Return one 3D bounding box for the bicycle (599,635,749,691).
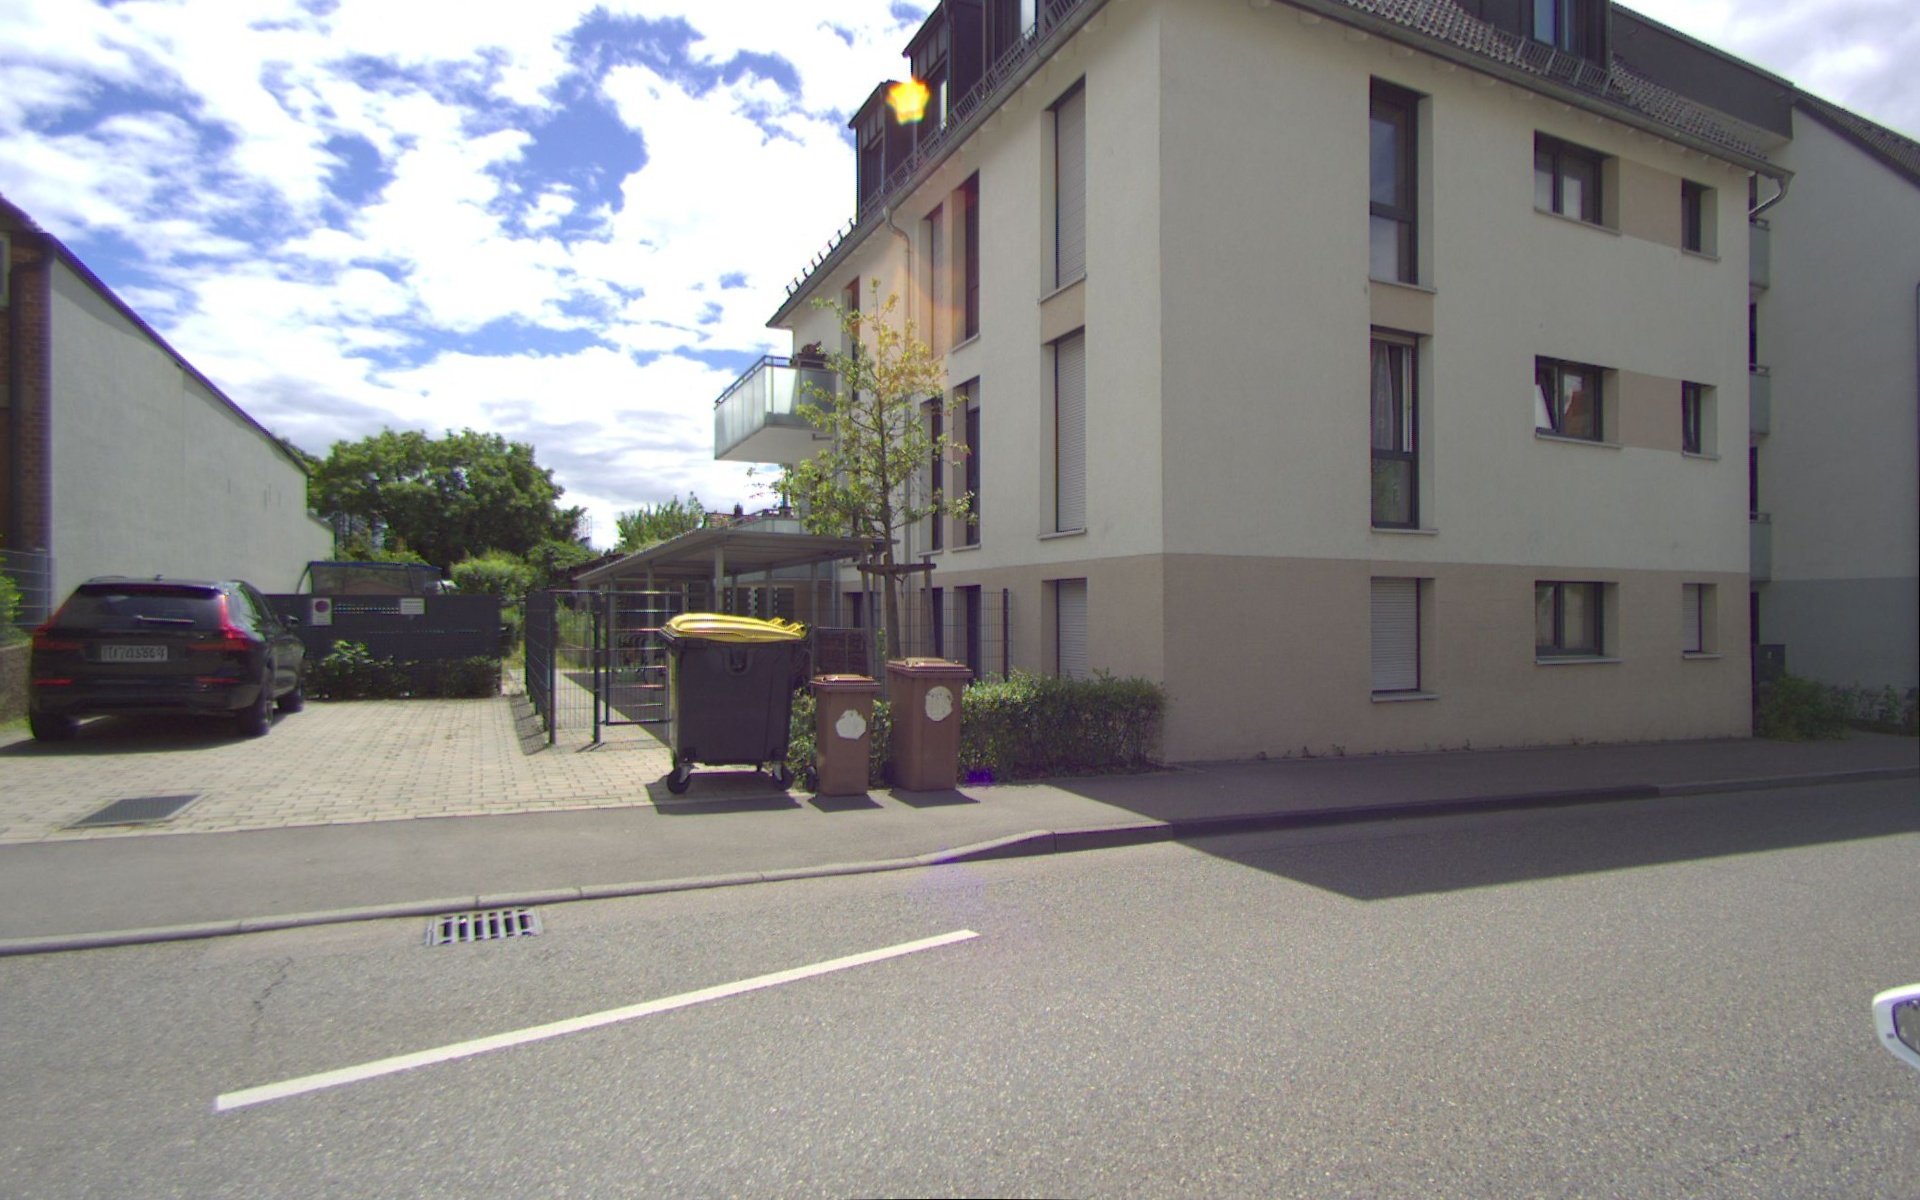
[{"bbox_3d":[-5.175,1.119,18.313,2.590,0.899,0.539,0,1,-30],"label":"bicycle"}]

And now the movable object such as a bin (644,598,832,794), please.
[{"bbox_3d":[-1.873,0.743,8.373,1.157,1.465,1.328,2,-2,-30],"label":"movable object such as a bin"}]

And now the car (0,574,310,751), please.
[{"bbox_3d":[-8.729,0.605,11.282,1.976,1.595,3.971,2,-1,-27],"label":"car"}]

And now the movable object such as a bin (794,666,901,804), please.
[{"bbox_3d":[-0.906,1.051,8.045,0.649,1.013,0.638,2,-1,-27],"label":"movable object such as a bin"}]

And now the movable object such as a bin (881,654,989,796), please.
[{"bbox_3d":[-0.212,1.006,8.307,0.652,1.089,0.638,2,-1,-29],"label":"movable object such as a bin"}]

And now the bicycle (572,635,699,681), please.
[{"bbox_3d":[-7.048,1.243,21.913,2.590,0.899,0.539,0,1,-30],"label":"bicycle"}]
